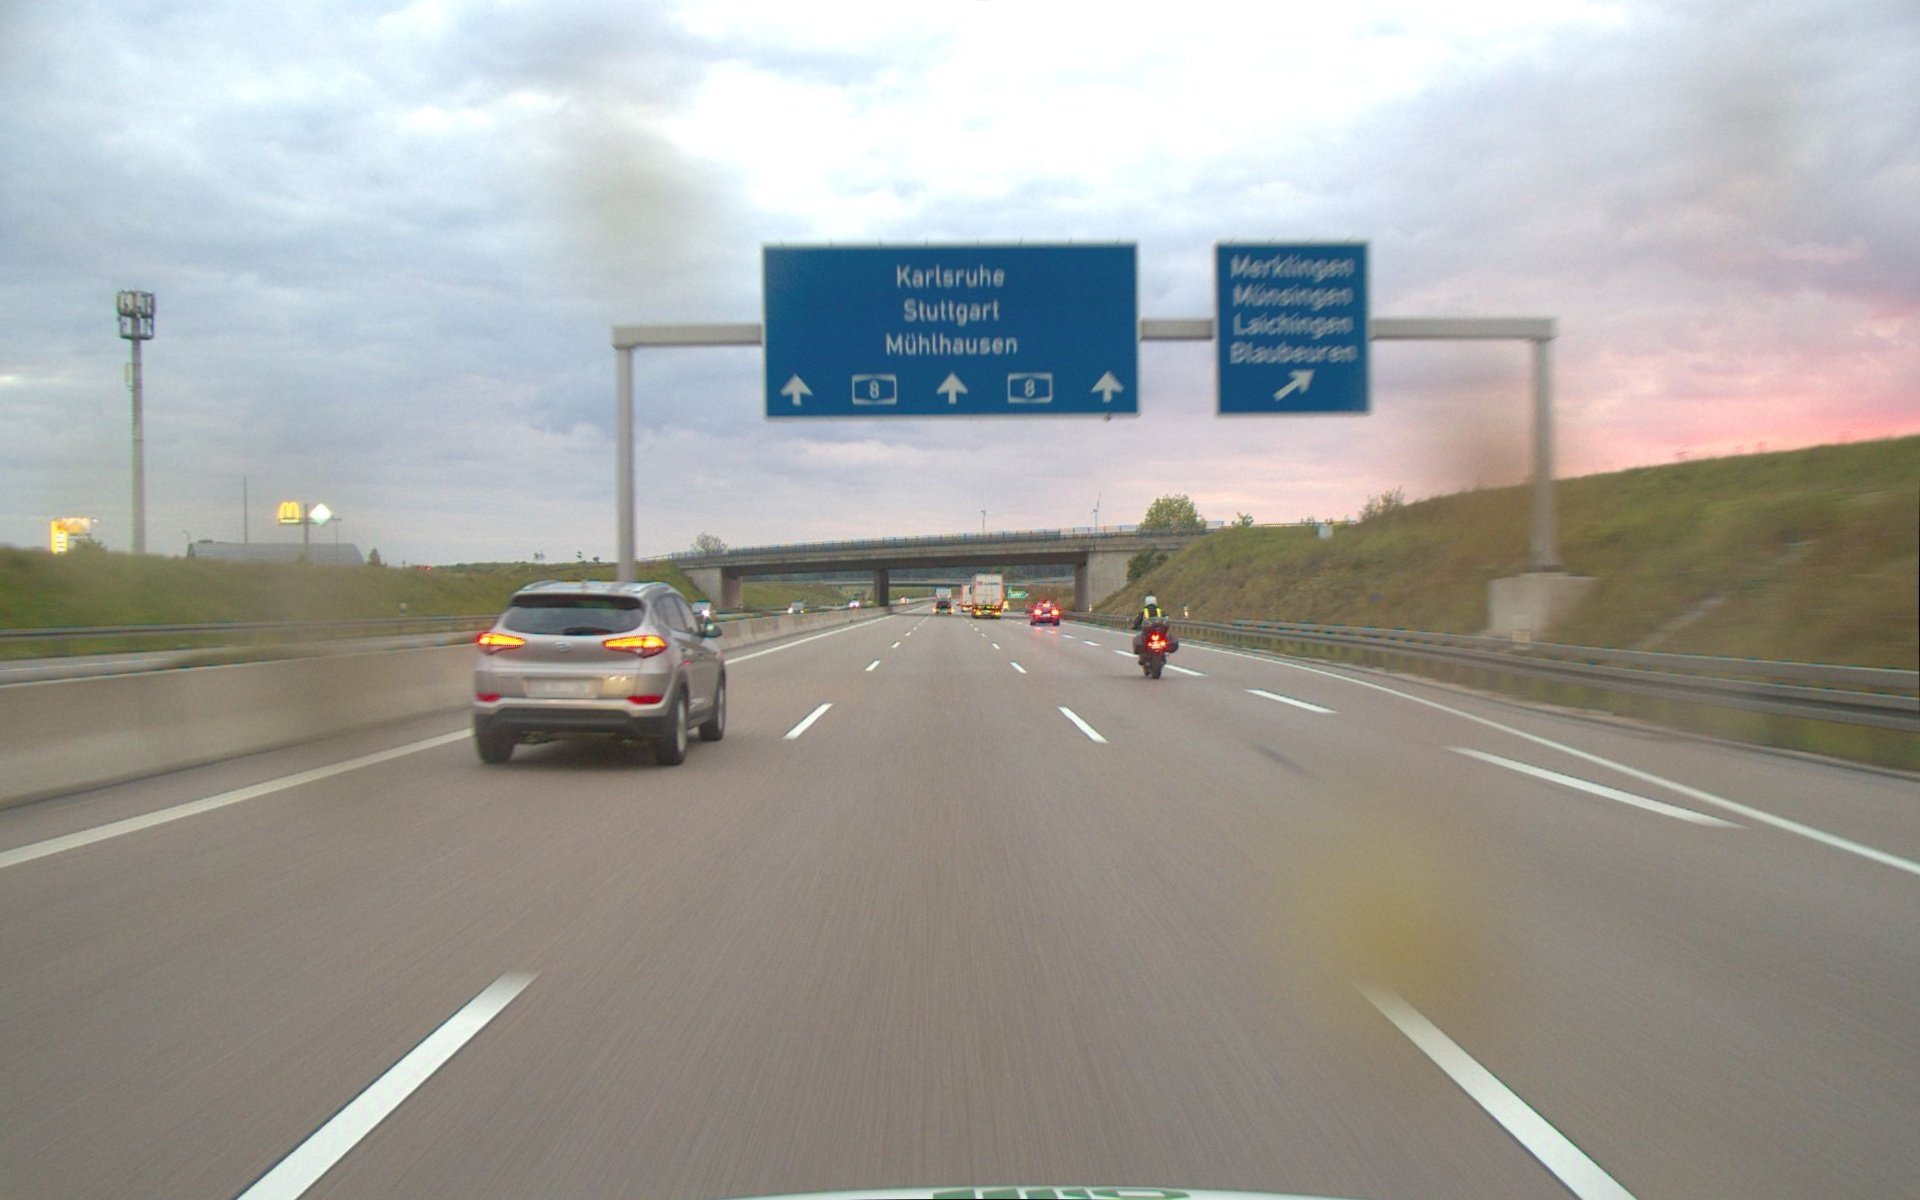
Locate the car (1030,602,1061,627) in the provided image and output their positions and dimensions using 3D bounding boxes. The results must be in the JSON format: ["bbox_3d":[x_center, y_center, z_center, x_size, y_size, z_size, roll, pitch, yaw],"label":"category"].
[{"bbox_3d":[5.837,0.966,113.150,1.879,1.607,3.999,0,0,-1],"label":"car"}]

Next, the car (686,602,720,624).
[{"bbox_3d":[-19.970,0.982,128.490,1.953,1.630,5.198,1,0,-2],"label":"car"}]

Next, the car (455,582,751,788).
[{"bbox_3d":[-3.344,0.700,16.641,1.815,1.722,5.511,0,0,0],"label":"car"}]

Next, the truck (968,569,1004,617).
[{"bbox_3d":[2.383,-0.728,154.075,3.167,4.301,9.598,1,1,0],"label":"truck"}]

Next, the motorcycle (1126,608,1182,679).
[{"bbox_3d":[4.019,0.873,34.373,0.883,1.370,2.349,0,1,0],"label":"motorcycle"}]

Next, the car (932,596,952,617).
[{"bbox_3d":[-2.230,0.778,203.567,2.465,2.433,6.494,-1,0,-1],"label":"car"}]

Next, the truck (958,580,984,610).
[{"bbox_3d":[1.594,-0.782,244.558,3.454,4.421,8.404,1,1,-1],"label":"truck"}]

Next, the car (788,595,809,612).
[{"bbox_3d":[-16.875,0.376,172.919,1.782,1.657,4.000,1,0,0],"label":"car"}]

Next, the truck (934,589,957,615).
[{"bbox_3d":[-1.972,0.284,219.686,2.892,3.273,8.404,1,1,-1],"label":"truck"}]

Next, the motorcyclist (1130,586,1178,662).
[{"bbox_3d":[4.006,0.485,34.204,0.848,1.513,1.168,1,0,1],"label":"motorcyclist"}]
